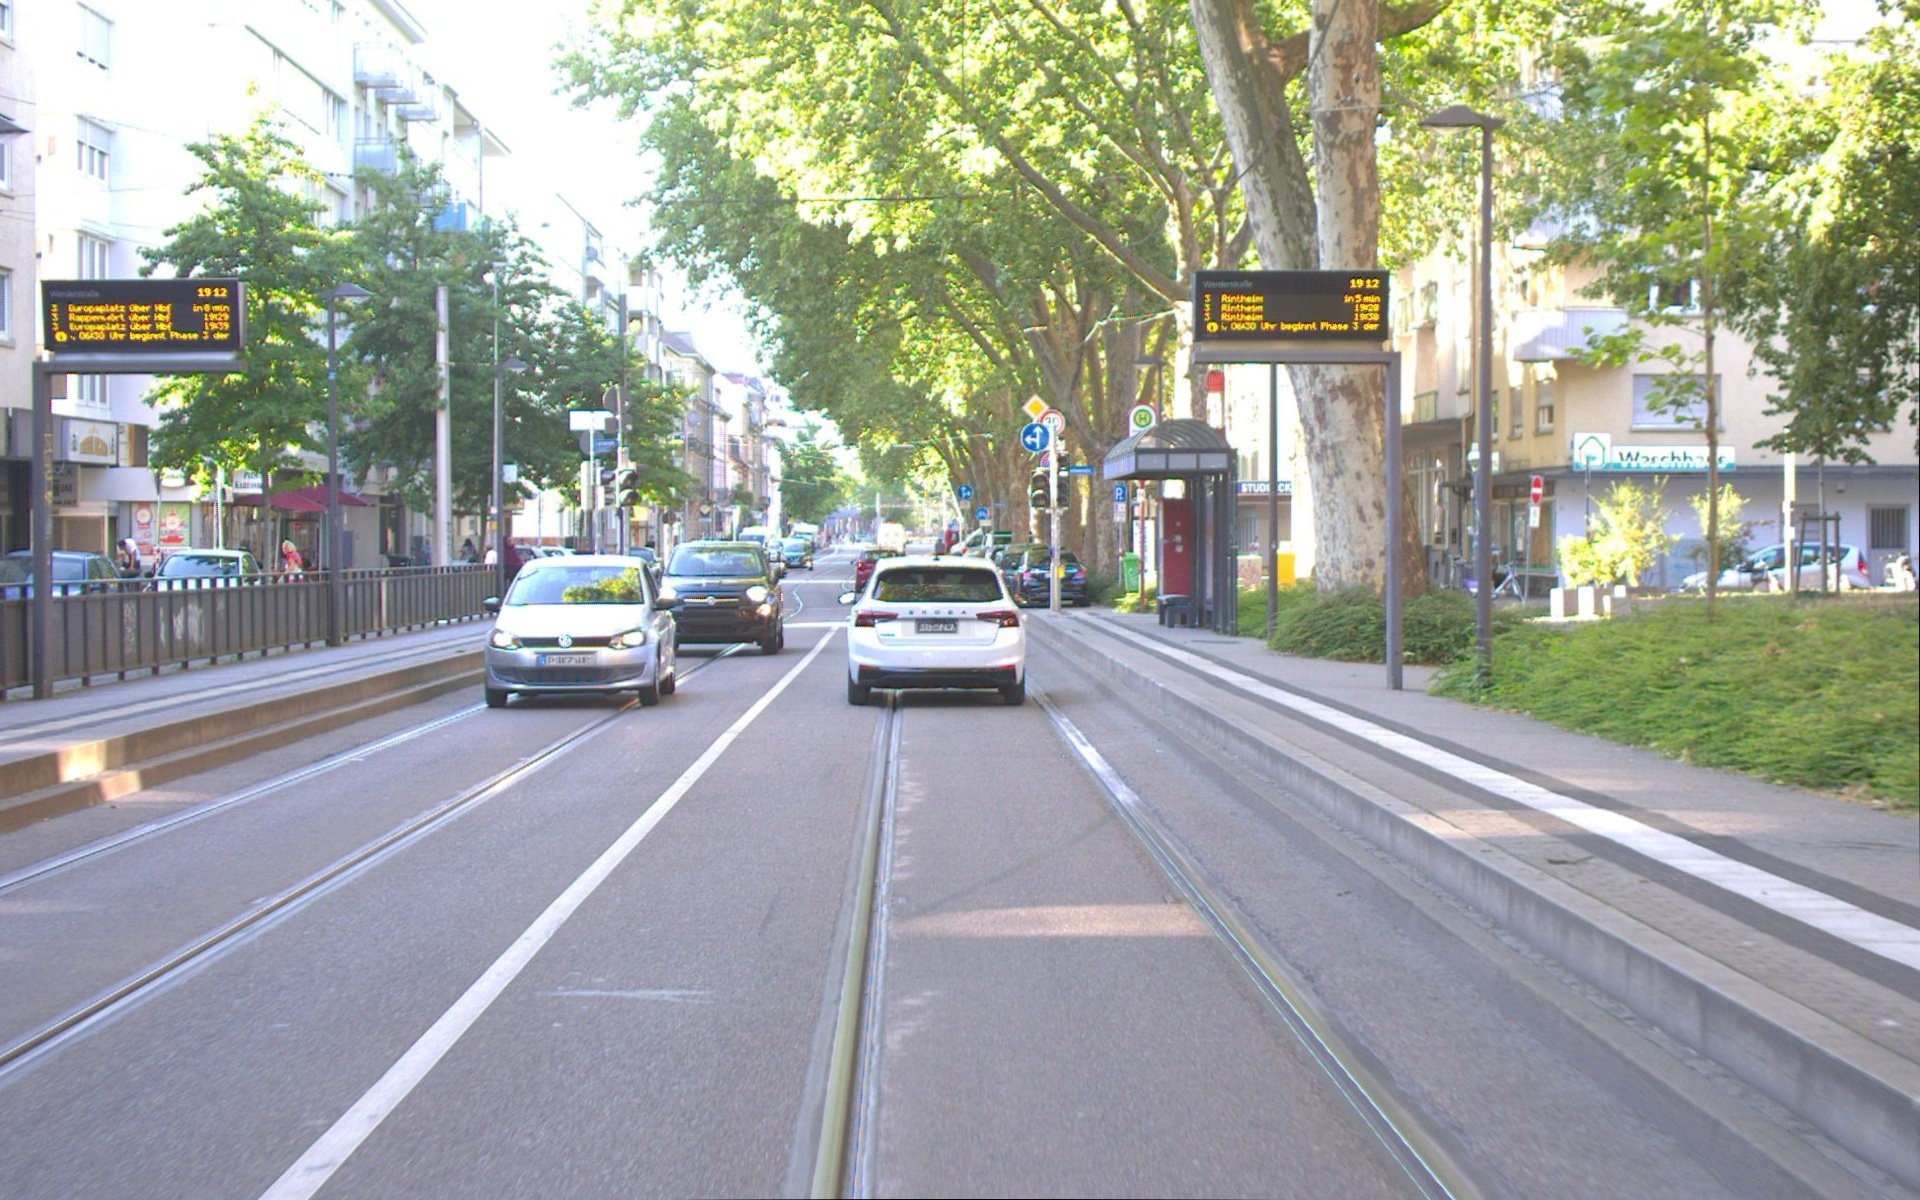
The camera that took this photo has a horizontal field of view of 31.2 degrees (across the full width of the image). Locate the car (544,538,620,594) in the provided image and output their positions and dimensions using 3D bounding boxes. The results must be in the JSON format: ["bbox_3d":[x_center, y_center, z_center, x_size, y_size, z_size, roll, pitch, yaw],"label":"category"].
[{"bbox_3d":[-10.908,-0.991,99.395,1.794,1.505,4.000,2,1,-1],"label":"car"}]

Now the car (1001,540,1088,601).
[{"bbox_3d":[2.079,-0.742,85.427,1.993,1.448,4.000,0,1,-1],"label":"car"}]

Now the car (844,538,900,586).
[{"bbox_3d":[-2.839,-1.258,111.776,1.788,1.508,4.000,0,1,-1],"label":"car"}]

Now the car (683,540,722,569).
[{"bbox_3d":[-13.410,-2.384,179.092,1.788,1.508,4.000,0,1,-1],"label":"car"}]

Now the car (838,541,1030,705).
[{"bbox_3d":[-0.272,0.177,34.085,1.788,1.508,4.000,0,1,-1],"label":"car"}]

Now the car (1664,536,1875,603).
[{"bbox_3d":[16.860,-0.644,71.766,3.987,1.368,1.867,0,1,1],"label":"car"}]

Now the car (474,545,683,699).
[{"bbox_3d":[-3.745,0.177,34.303,1.693,1.414,4.000,0,1,-1],"label":"car"}]

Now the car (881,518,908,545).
[{"bbox_3d":[-4.620,-4.827,242.295,1.866,1.886,4.000,0,1,-1],"label":"car"}]

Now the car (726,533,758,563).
[{"bbox_3d":[-15.220,-3.627,240.239,1.991,2.067,4.000,0,1,-1],"label":"car"}]

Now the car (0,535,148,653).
[{"bbox_3d":[-12.878,-0.119,49.008,1.678,1.543,4.000,2,1,-1],"label":"car"}]

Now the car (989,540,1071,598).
[{"bbox_3d":[1.822,-0.831,90.512,1.993,1.448,4.000,0,1,-1],"label":"car"}]

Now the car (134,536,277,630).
[{"bbox_3d":[-13.384,-0.330,61.161,1.678,1.543,4.000,2,1,-1],"label":"car"}]

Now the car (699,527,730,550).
[{"bbox_3d":[-15.978,-4.005,223.688,1.788,1.508,4.000,0,1,-1],"label":"car"}]

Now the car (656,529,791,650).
[{"bbox_3d":[-3.324,-0.186,48.923,1.693,1.638,4.000,0,1,-1],"label":"car"}]

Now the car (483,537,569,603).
[{"bbox_3d":[-10.912,-0.772,86.709,1.678,1.543,4.000,2,1,-1],"label":"car"}]

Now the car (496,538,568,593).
[{"bbox_3d":[-12.796,-1.057,102.963,1.678,1.543,4.000,2,1,-1],"label":"car"}]

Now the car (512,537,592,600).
[{"bbox_3d":[-10.785,-0.849,91.051,1.678,1.543,4.000,2,1,-1],"label":"car"}]

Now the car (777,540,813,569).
[{"bbox_3d":[-8.700,-2.420,181.306,1.788,1.508,4.000,0,1,-1],"label":"car"}]

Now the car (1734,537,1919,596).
[{"bbox_3d":[20.731,-0.818,82.275,3.987,1.368,1.867,0,1,1],"label":"car"}]
